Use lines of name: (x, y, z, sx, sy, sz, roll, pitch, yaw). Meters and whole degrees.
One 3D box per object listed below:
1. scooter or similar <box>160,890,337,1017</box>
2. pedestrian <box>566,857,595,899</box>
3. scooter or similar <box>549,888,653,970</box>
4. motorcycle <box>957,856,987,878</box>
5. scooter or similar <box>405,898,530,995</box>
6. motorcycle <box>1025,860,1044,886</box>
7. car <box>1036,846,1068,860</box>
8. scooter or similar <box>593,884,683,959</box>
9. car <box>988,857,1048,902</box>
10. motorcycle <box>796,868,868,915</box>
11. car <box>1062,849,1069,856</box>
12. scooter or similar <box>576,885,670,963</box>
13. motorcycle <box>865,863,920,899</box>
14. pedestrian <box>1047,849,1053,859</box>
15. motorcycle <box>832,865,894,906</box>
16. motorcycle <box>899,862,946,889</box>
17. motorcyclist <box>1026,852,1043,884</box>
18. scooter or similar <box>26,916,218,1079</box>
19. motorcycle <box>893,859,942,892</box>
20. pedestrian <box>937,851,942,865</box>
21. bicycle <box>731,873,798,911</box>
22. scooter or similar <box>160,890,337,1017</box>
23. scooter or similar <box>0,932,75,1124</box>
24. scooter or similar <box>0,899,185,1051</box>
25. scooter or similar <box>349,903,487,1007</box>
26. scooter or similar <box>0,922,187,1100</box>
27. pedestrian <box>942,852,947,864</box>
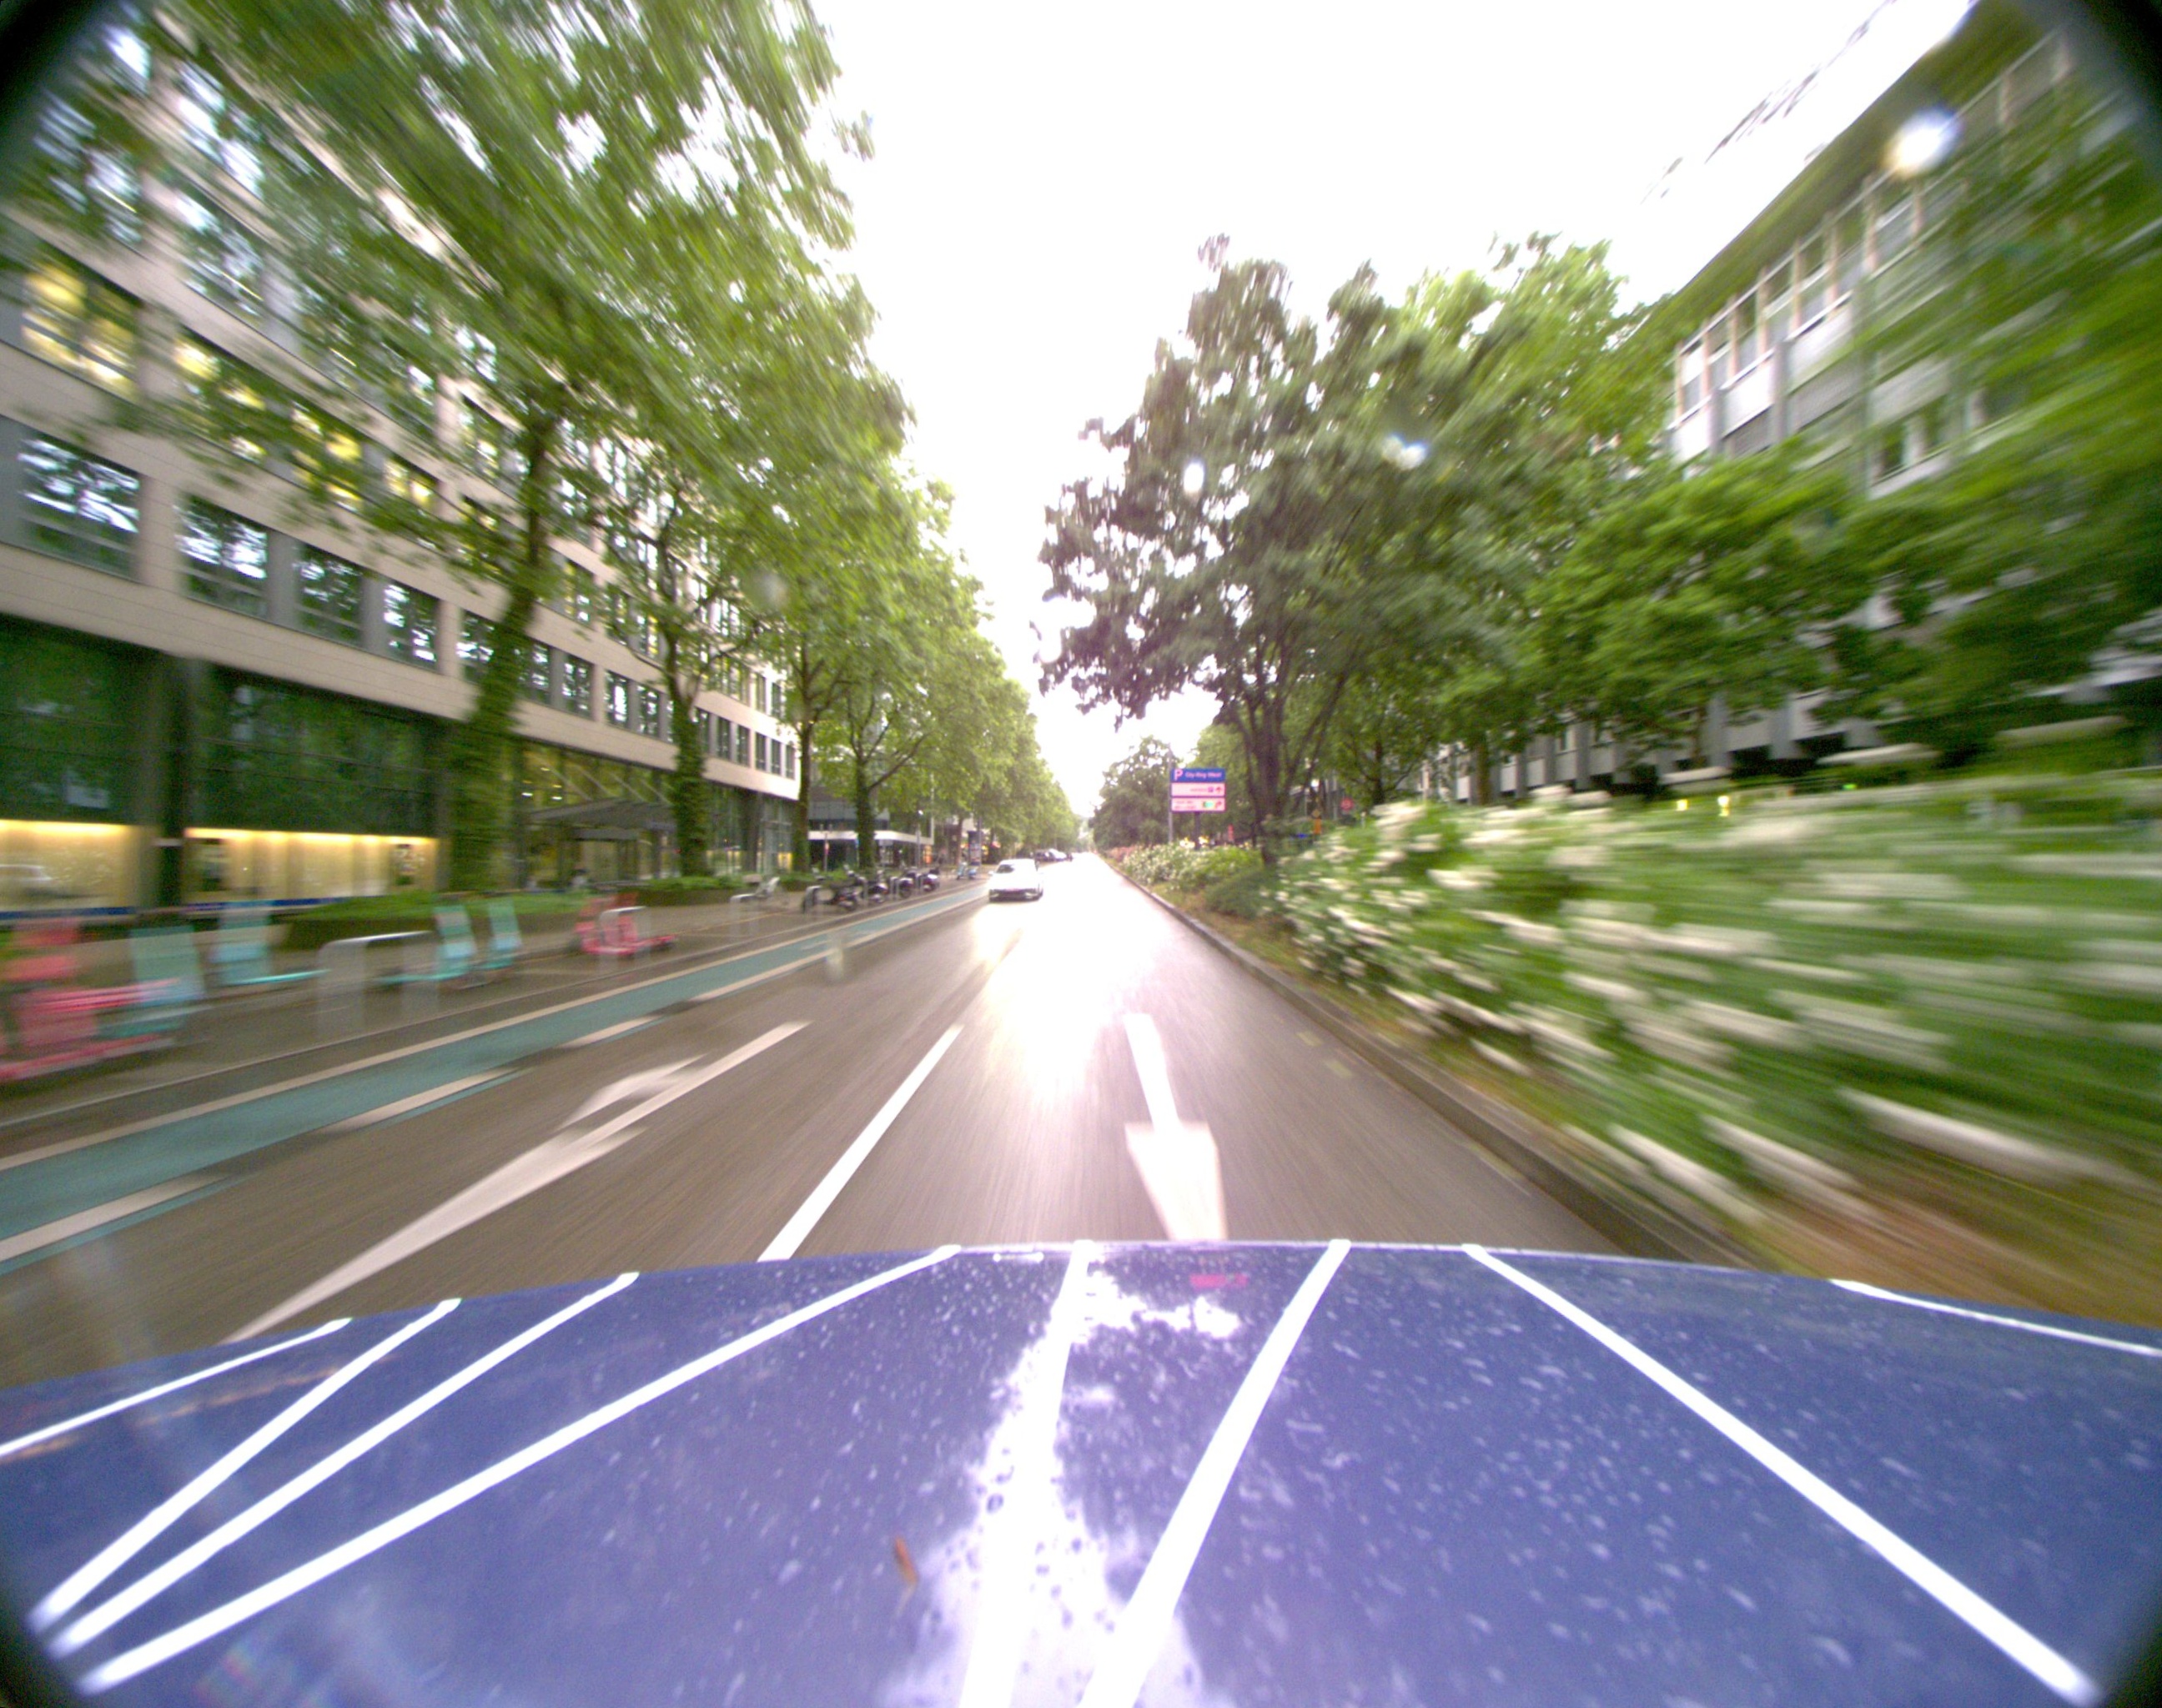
scooter or similar: (-9.073, 1.037, 8.349, 0.489, 1.252, 1.294, 0, -1, 1)
pedestrian: (-20.381, 0.968, 30.934, 0.727, 1.683, 0.830, 0, 0, 44)
scooter or similar: (-7.747, 1.192, 12.298, 1.294, 1.270, 0.536, 1, -1, -10)
motorcycle: (-7.103, 0.852, 49.519, 0.682, 1.359, 1.950, 4, 2, 41)
scooter or similar: (-8.209, 1.225, 10.186, 1.292, 1.228, 0.489, 0, -1, 3)
motorcycle: (-2.318, 0.952, 38.331, 0.744, 1.194, 2.235, -2, 1, 1)
car: (-5.906, -0.285, 154.158, 6.267, 2.665, 2.326, -1, 2, 37)
scooter or similar: (-7.820, 1.175, 13.428, 1.292, 1.270, 0.537, 0, -1, 5)
car: (-2.276, 0.895, 28.414, 1.795, 1.463, 3.793, -2, 0, 2)
motorcycle: (-7.357, 1.108, 22.519, 1.963, 1.365, 0.728, 1, -1, -15)
car: (-3.622, -0.330, 177.640, 1.598, 1.517, 3.425, -1, 0, 1)
scooter or similar: (-7.810, 1.182, 12.984, 1.292, 1.270, 0.537, 0, -1, 5)
motorcycle: (-7.266, 1.030, 29.247, 1.964, 1.365, 0.728, 1, -1, -20)
pedestrian: (-6.090, -0.047, 147.481, 0.893, 1.839, 0.786, -2, 2, -17)
motorcycle: (-7.390, 1.051, 25.794, 1.964, 1.365, 0.728, 1, -1, -20)
motorcycle: (-7.514, 1.010, 36.006, 2.064, 1.206, 0.683, 1, 1, -34)
motorcyclist: (-2.326, 0.699, 38.243, 0.744, 1.575, 1.059, -2, 1, 1)
scooter or similar: (-8.198, 1.187, 6.503, 1.291, 1.252, 0.490, 0, -1, 13)
motorcycle: (-7.236, 0.941, 33.641, 2.062, 1.420, 0.728, 1, -1, -20)
pedestrian: (-19.408, 0.497, 104.065, 0.523, 1.848, 0.704, 1, 2, 1)
bicycle: (-9.333, 1.094, 22.480, 0.637, 1.022, 1.766, -1, 1, 30)
scooter or similar: (-9.073, 1.037, 8.349, 0.489, 1.252, 1.294, 0, -1, 1)
scooter or similar: (-7.917, 1.199, 5.353, 1.291, 1.252, 0.490, 0, -1, 13)
scooter or similar: (-9.467, 1.071, 7.158, 0.489, 1.252, 1.294, 0, -1, 1)
scooter or similar: (-8.218, 1.238, 9.441, 1.292, 1.228, 0.489, 0, -1, 3)
scooter or similar: (-7.830, 1.185, 5.963, 1.291, 1.252, 0.490, 0, -1, 13)
pedestrian: (-18.764, 0.614, 104.317, 0.527, 1.616, 0.719, 1, 2, 1)
